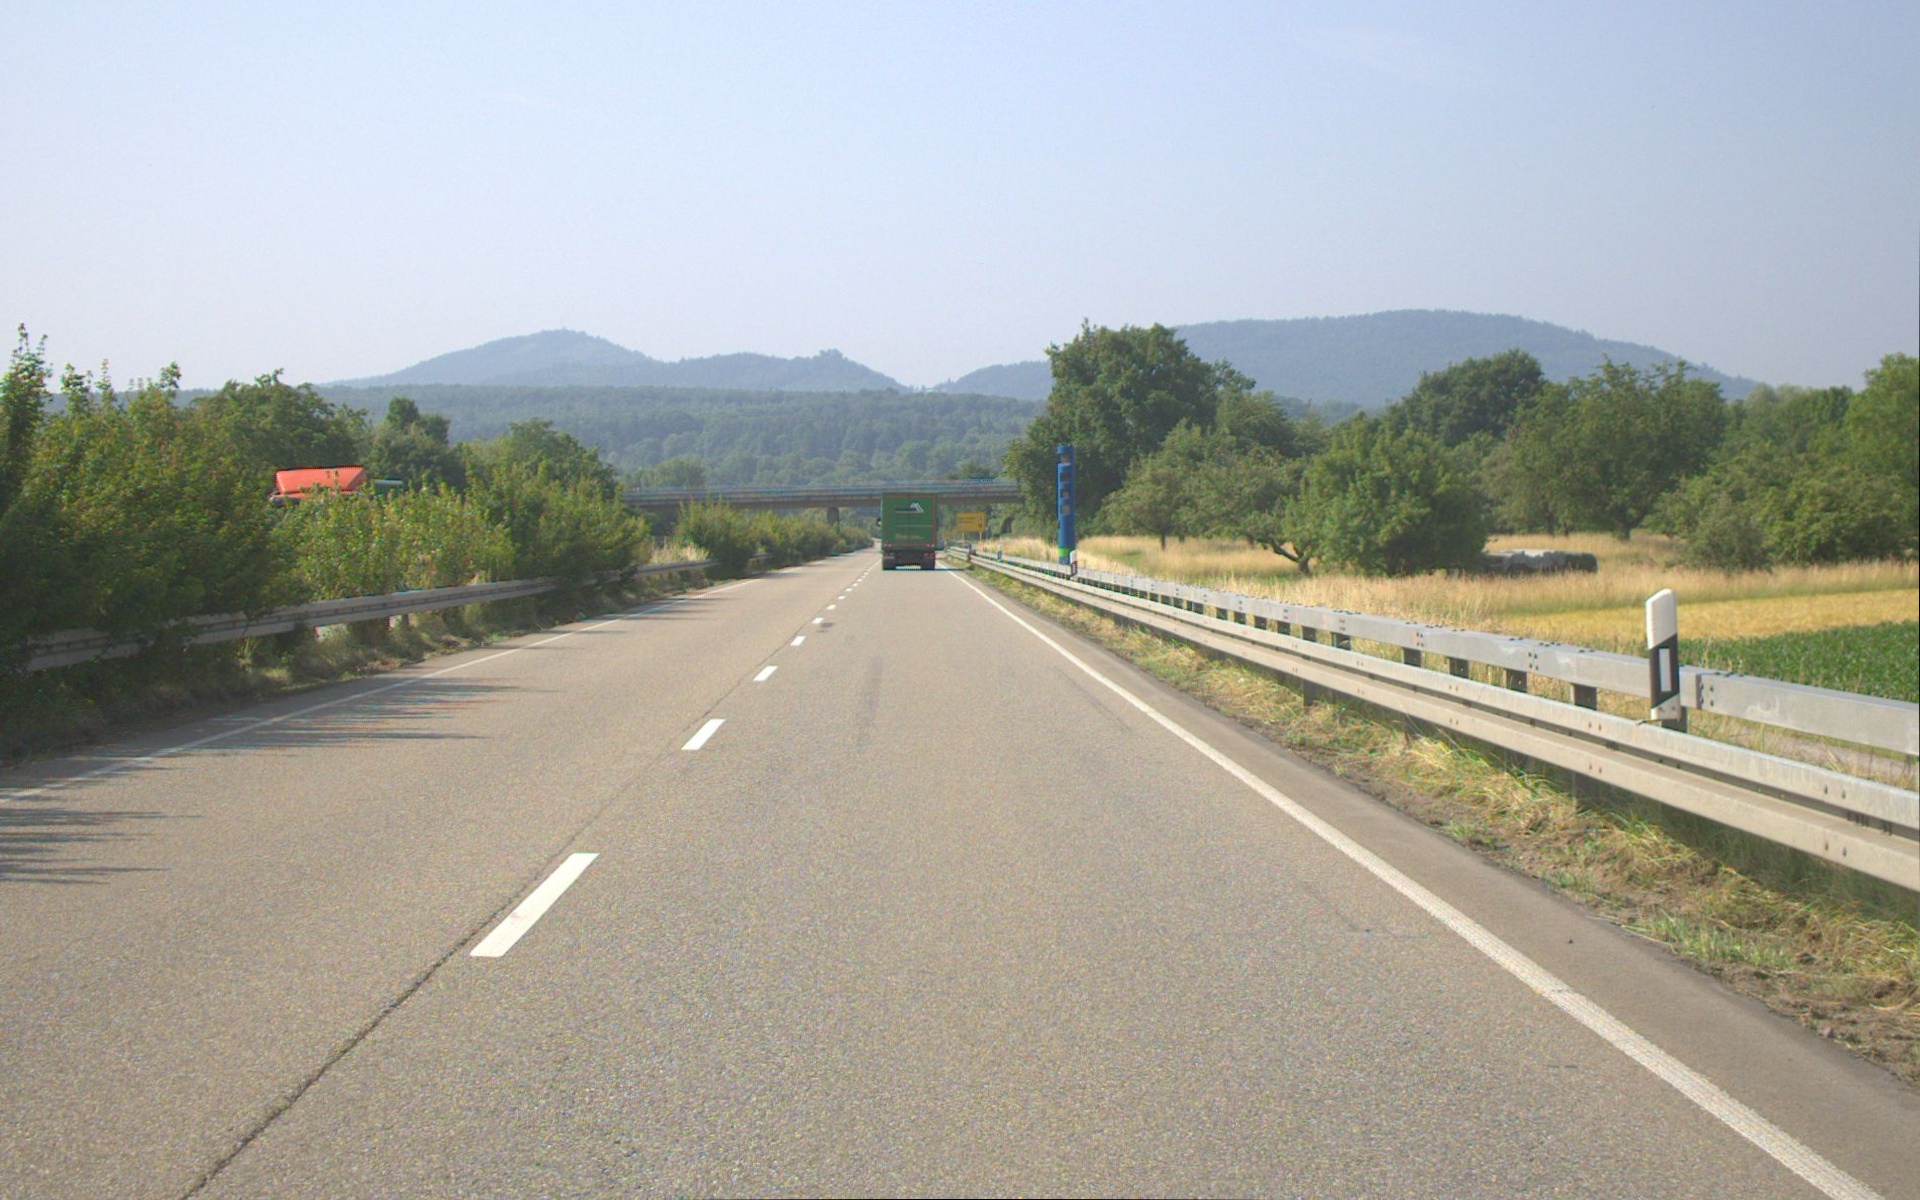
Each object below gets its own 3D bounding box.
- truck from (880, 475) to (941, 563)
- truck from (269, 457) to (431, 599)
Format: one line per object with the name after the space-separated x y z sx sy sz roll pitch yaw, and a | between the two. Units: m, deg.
-2.305 -3.894 162.843 2.722 3.952 10.417 1 2 -1 | truck
-16.230 -1.912 92.171 2.602 3.576 10.386 -1 1 -1 | truck
